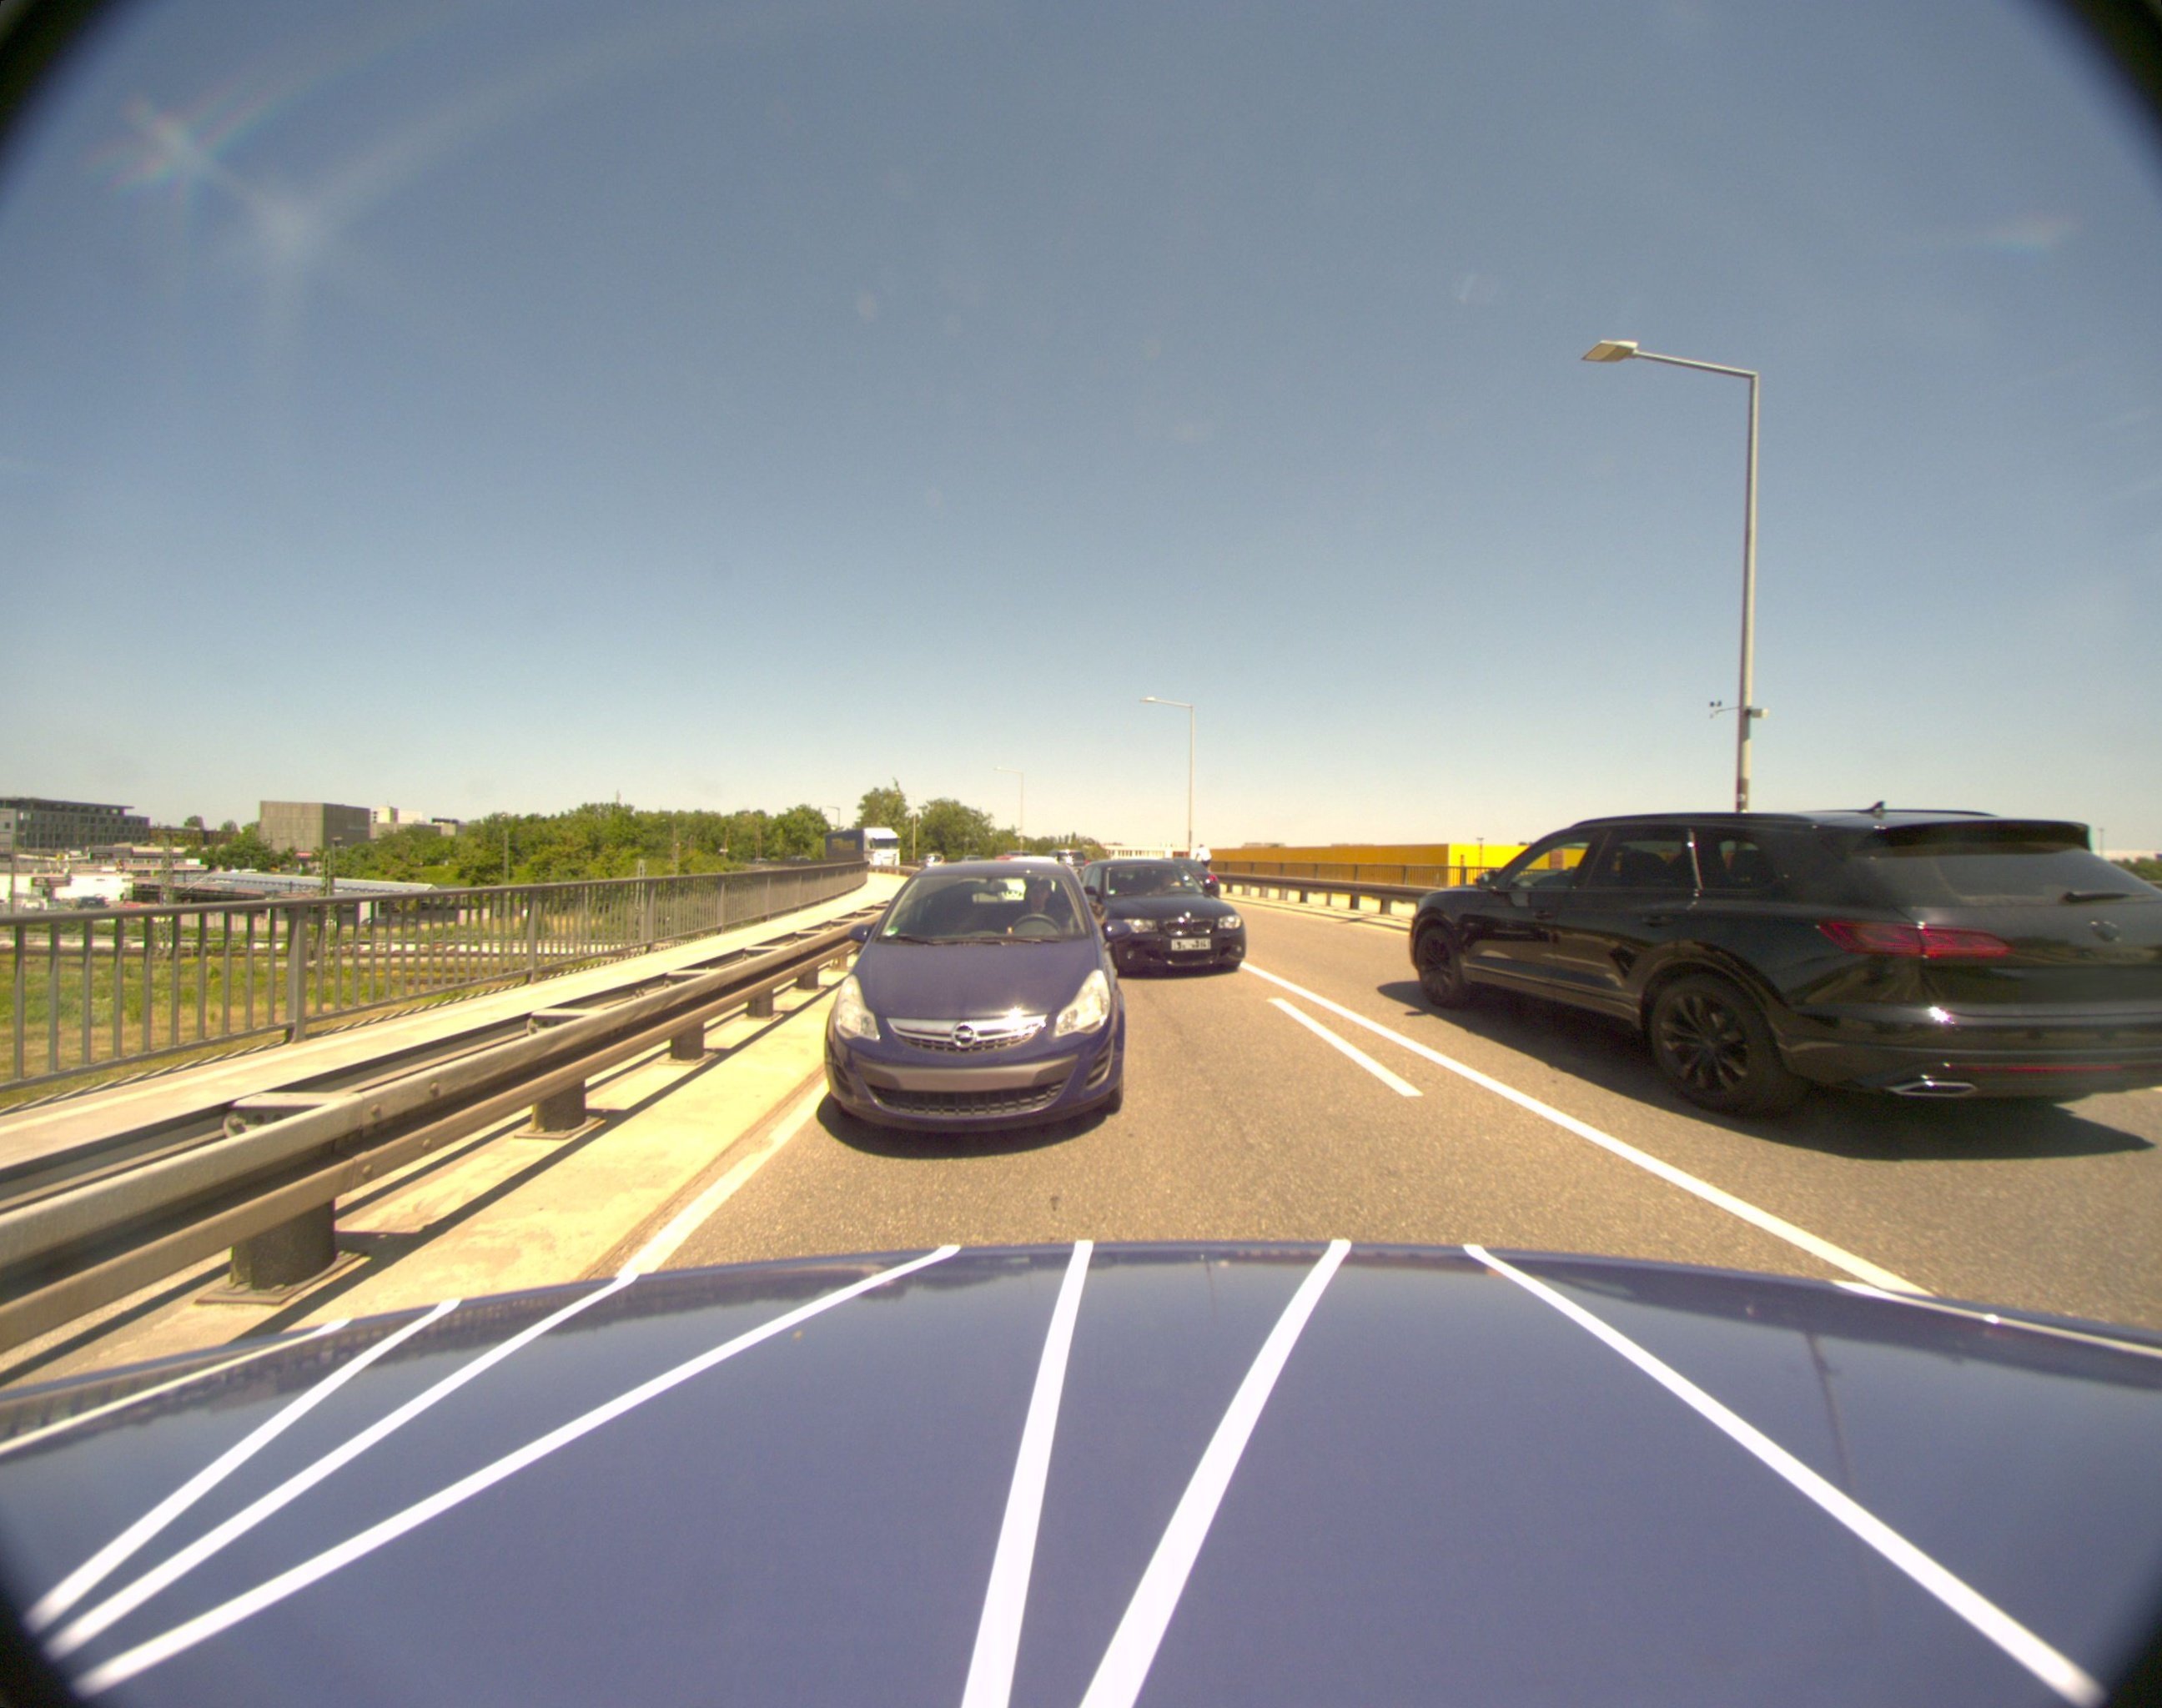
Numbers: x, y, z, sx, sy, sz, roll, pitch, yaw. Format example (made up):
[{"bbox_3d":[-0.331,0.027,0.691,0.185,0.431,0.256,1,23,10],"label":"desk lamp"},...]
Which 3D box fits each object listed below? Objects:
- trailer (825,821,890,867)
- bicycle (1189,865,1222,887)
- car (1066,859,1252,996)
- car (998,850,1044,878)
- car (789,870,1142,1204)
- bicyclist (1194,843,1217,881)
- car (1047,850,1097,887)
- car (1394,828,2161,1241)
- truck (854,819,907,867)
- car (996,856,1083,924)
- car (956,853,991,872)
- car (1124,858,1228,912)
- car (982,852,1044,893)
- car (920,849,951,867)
[{"bbox_3d":[-23.018,-0.988,77.589,2.706,4.211,12.680,-3,2,-33],"label":"trailer"},{"bbox_3d":[5.076,0.876,31.054,0.590,0.828,1.989,-1,1,-13],"label":"bicycle"},{"bbox_3d":[0.853,0.847,10.919,1.795,1.447,4.520,-1,1,-5],"label":"car"},{"bbox_3d":[-3.779,0.581,46.982,1.808,1.631,4.293,-1,0,-19],"label":"car"},{"bbox_3d":[-0.663,0.912,5.651,1.645,1.431,3.998,-2,1,-4],"label":"car"},{"bbox_3d":[5.071,0.323,31.003,0.585,1.512,0.895,-1,1,-13],"label":"bicyclist"},{"bbox_3d":[-0.479,0.621,35.260,1.712,1.617,4.248,0,1,-10],"label":"car"},{"bbox_3d":[4.263,0.713,5.426,1.971,1.663,4.612,-1,0,-3],"label":"car"},{"bbox_3d":[-18.813,-0.971,70.961,2.701,4.205,6.822,-3,2,-32],"label":"truck"},{"bbox_3d":[-1.184,0.810,19.556,1.795,1.447,4.519,-2,1,-8],"label":"car"},{"bbox_3d":[-8.293,0.621,58.365,1.704,1.368,3.992,-1,1,-23],"label":"car"},{"bbox_3d":[2.553,0.808,21.423,1.684,1.300,3.968,-1,0,-12],"label":"car"},{"bbox_3d":[-2.750,0.685,29.813,1.796,1.446,4.518,-1,0,-13],"label":"car"},{"bbox_3d":[-13.395,0.376,69.891,1.745,1.571,4.167,-1,1,-27],"label":"car"}]
